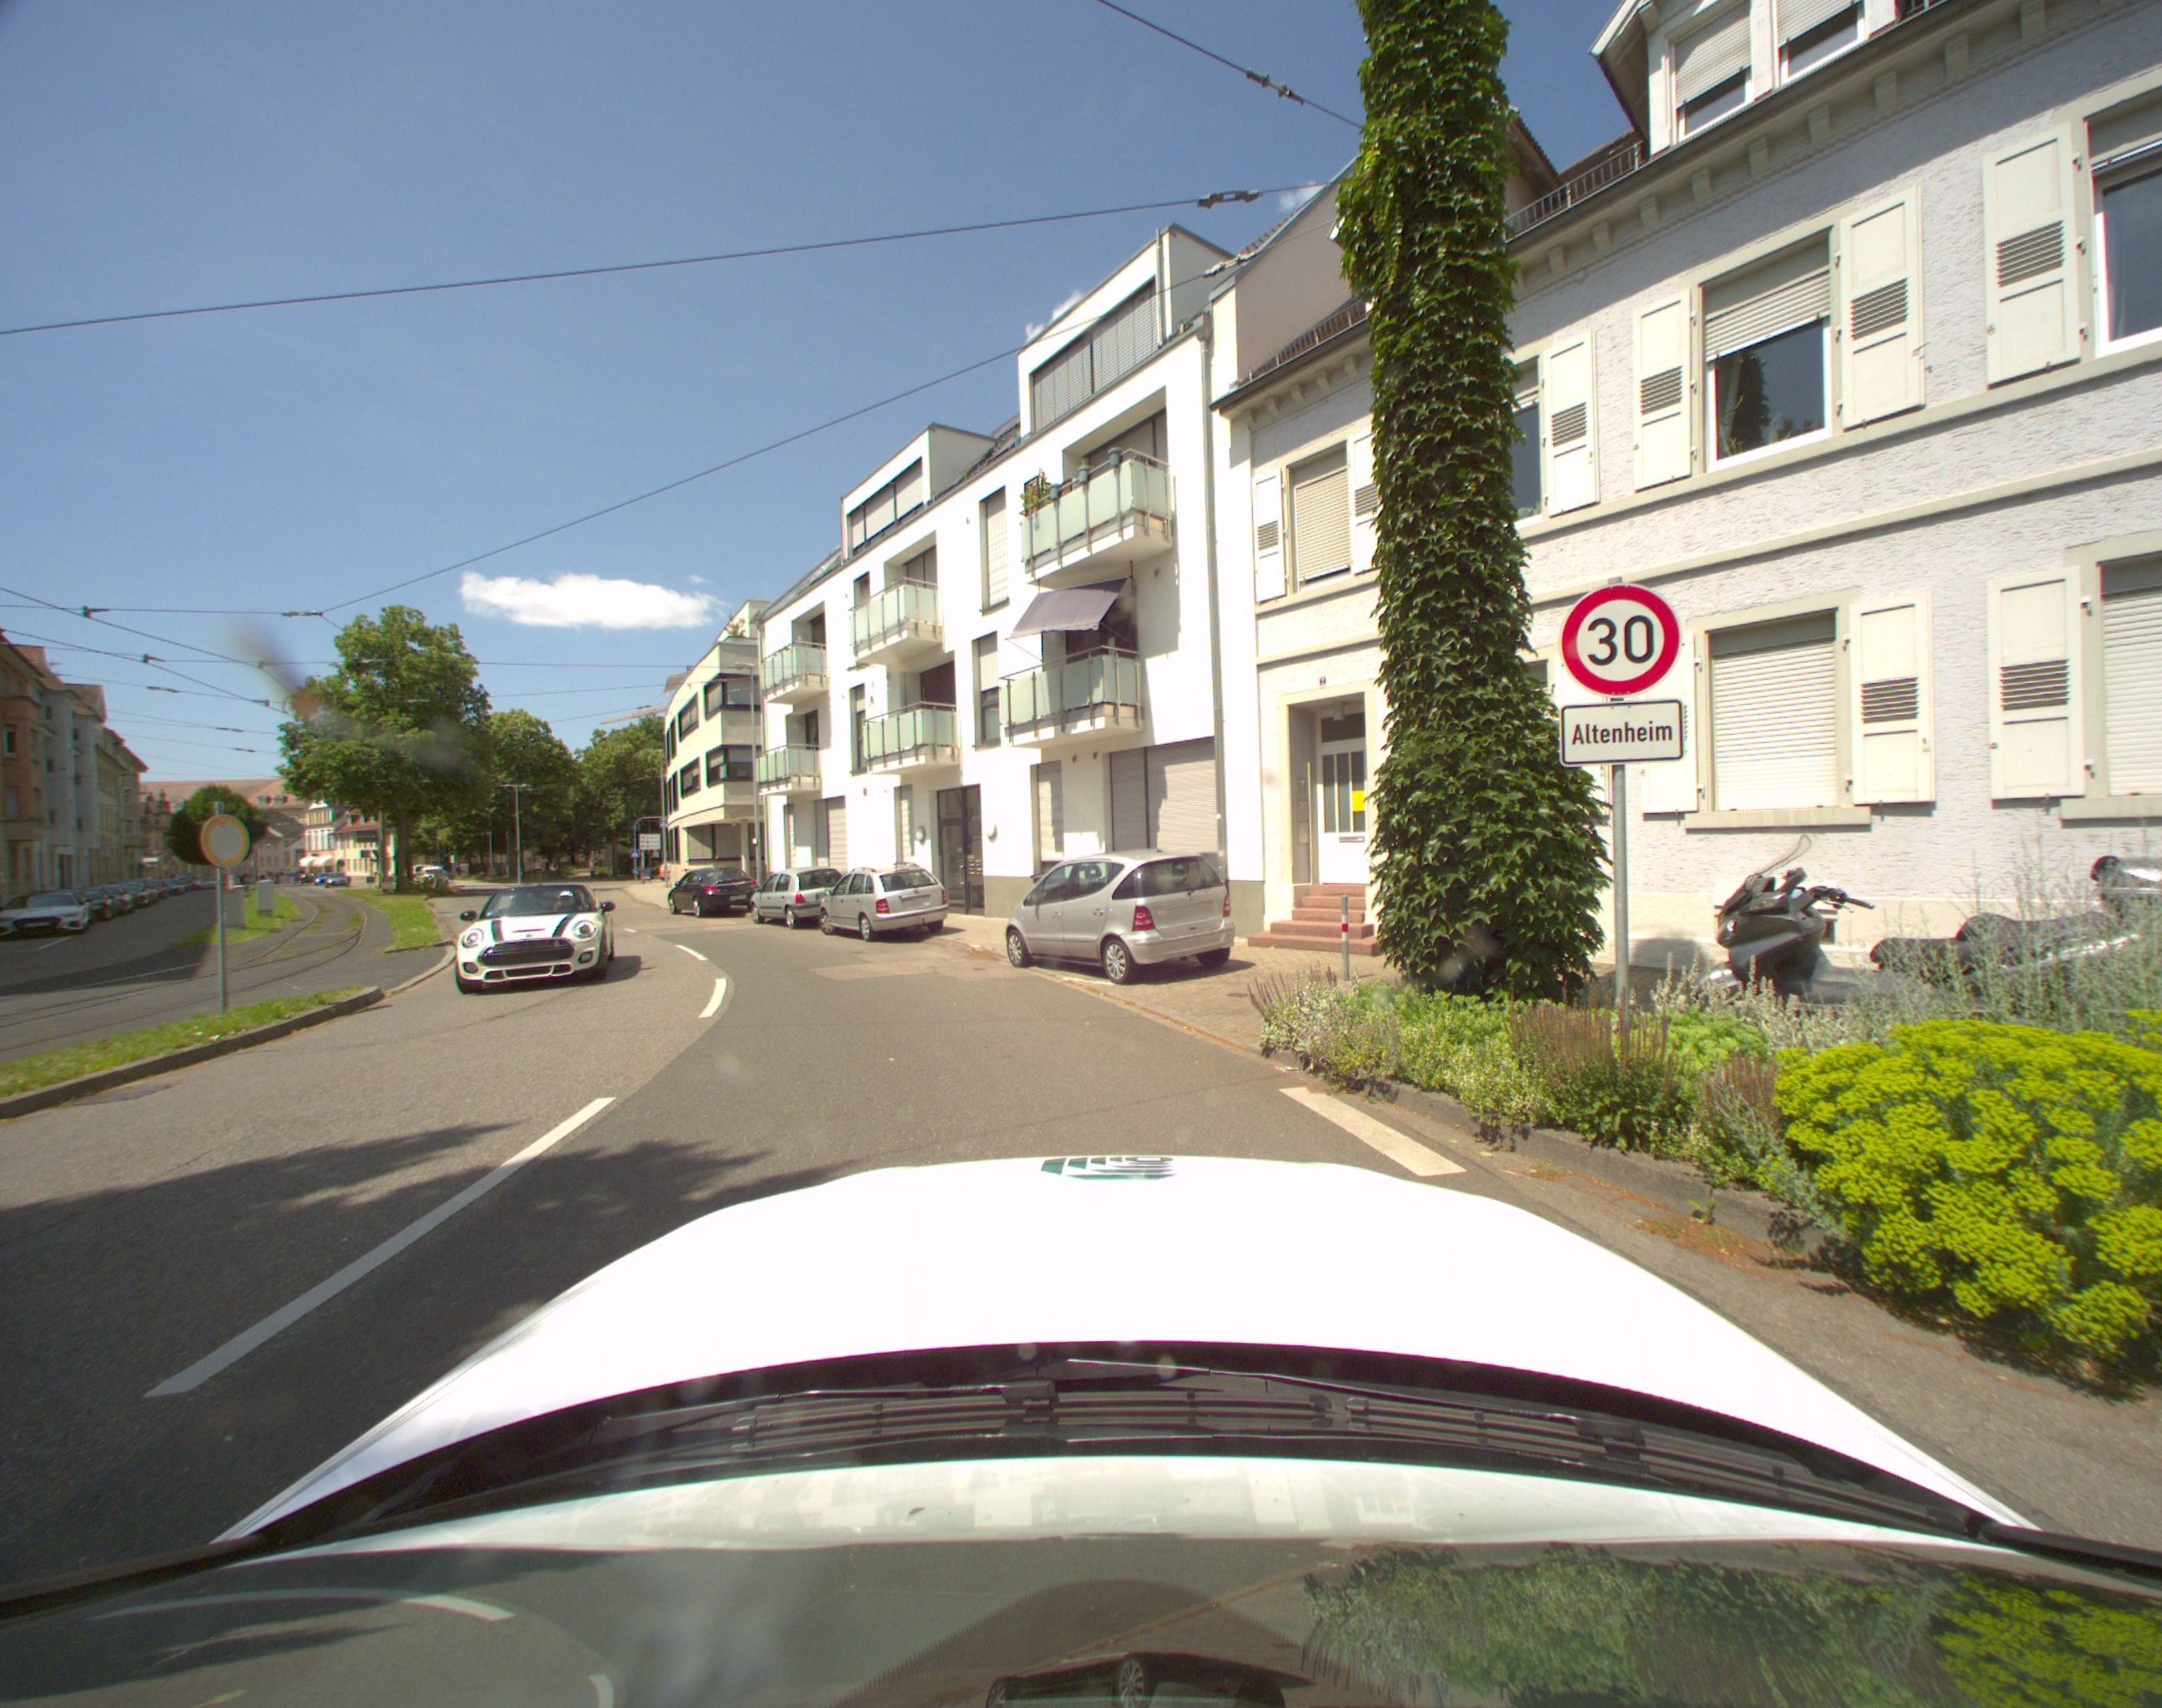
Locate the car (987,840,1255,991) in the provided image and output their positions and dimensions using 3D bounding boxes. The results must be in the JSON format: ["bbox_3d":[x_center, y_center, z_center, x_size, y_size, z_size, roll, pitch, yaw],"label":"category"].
[{"bbox_3d":[0.381,0.742,11.327,1.739,1.610,3.760,-5,1,-33],"label":"car"}]

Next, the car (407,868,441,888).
[{"bbox_3d":[-64.802,2.329,80.319,4.367,1.826,2.012,-1,0,44],"label":"car"}]

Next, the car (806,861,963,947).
[{"bbox_3d":[-4.292,0.978,17.383,1.741,1.432,3.997,-7,3,-36],"label":"car"}]

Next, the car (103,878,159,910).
[{"bbox_3d":[-57.111,2.350,49.042,4.091,1.685,1.854,-1,3,44],"label":"car"}]

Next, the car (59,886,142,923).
[{"bbox_3d":[-46.104,2.344,38.395,1.945,1.397,4.803,-5,3,-44],"label":"car"}]

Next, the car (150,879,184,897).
[{"bbox_3d":[-78.583,2.912,70.021,3.809,1.360,1.702,-1,3,44],"label":"car"}]

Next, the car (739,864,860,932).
[{"bbox_3d":[-7.315,1.089,20.989,1.607,1.432,3.662,-7,3,-40],"label":"car"}]

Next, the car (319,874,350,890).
[{"bbox_3d":[-75.494,2.828,82.375,4.189,1.534,1.921,-1,0,42],"label":"car"}]

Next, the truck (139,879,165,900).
[{"bbox_3d":[-71.048,2.701,62.283,2.561,1.494,1.136,-1,2,43],"label":"truck"}]

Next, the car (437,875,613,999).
[{"bbox_3d":[-8.139,1.087,12.239,1.784,1.464,3.712,-2,0,-29],"label":"car"}]

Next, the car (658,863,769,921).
[{"bbox_3d":[-11.694,1.165,25.759,1.816,1.509,4.492,-7,3,-42],"label":"car"}]

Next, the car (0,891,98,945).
[{"bbox_3d":[-35.020,2.106,27.542,4.320,1.451,1.946,-1,3,42],"label":"car"}]

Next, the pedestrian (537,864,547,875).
[{"bbox_3d":[-65.035,1.868,98.285,0.911,1.252,1.137,-1,2,-30],"label":"pedestrian"}]

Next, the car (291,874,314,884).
[{"bbox_3d":[-115.758,3.700,121.074,3.948,1.486,1.878,-1,0,38],"label":"car"}]

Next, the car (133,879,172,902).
[{"bbox_3d":[-67.809,2.651,59.520,3.580,1.451,1.586,-1,3,44],"label":"car"}]

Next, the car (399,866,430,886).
[{"bbox_3d":[-70.734,2.296,86.360,2.068,2.002,5.184,-2,0,-44],"label":"car"}]

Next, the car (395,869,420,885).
[{"bbox_3d":[-75.900,2.573,91.789,1.799,1.624,4.430,-2,0,-44],"label":"car"}]

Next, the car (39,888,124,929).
[{"bbox_3d":[-42.306,2.257,34.563,4.090,1.400,1.848,-1,2,45],"label":"car"}]

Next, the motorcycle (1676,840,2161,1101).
[{"bbox_3d":[5.389,0.618,5.283,0.806,1.352,2.312,-2,0,-36],"label":"motorcycle"}]

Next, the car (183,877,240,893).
[{"bbox_3d":[-98.580,3.479,92.367,1.978,1.504,4.244,-1,2,40],"label":"car"}]
